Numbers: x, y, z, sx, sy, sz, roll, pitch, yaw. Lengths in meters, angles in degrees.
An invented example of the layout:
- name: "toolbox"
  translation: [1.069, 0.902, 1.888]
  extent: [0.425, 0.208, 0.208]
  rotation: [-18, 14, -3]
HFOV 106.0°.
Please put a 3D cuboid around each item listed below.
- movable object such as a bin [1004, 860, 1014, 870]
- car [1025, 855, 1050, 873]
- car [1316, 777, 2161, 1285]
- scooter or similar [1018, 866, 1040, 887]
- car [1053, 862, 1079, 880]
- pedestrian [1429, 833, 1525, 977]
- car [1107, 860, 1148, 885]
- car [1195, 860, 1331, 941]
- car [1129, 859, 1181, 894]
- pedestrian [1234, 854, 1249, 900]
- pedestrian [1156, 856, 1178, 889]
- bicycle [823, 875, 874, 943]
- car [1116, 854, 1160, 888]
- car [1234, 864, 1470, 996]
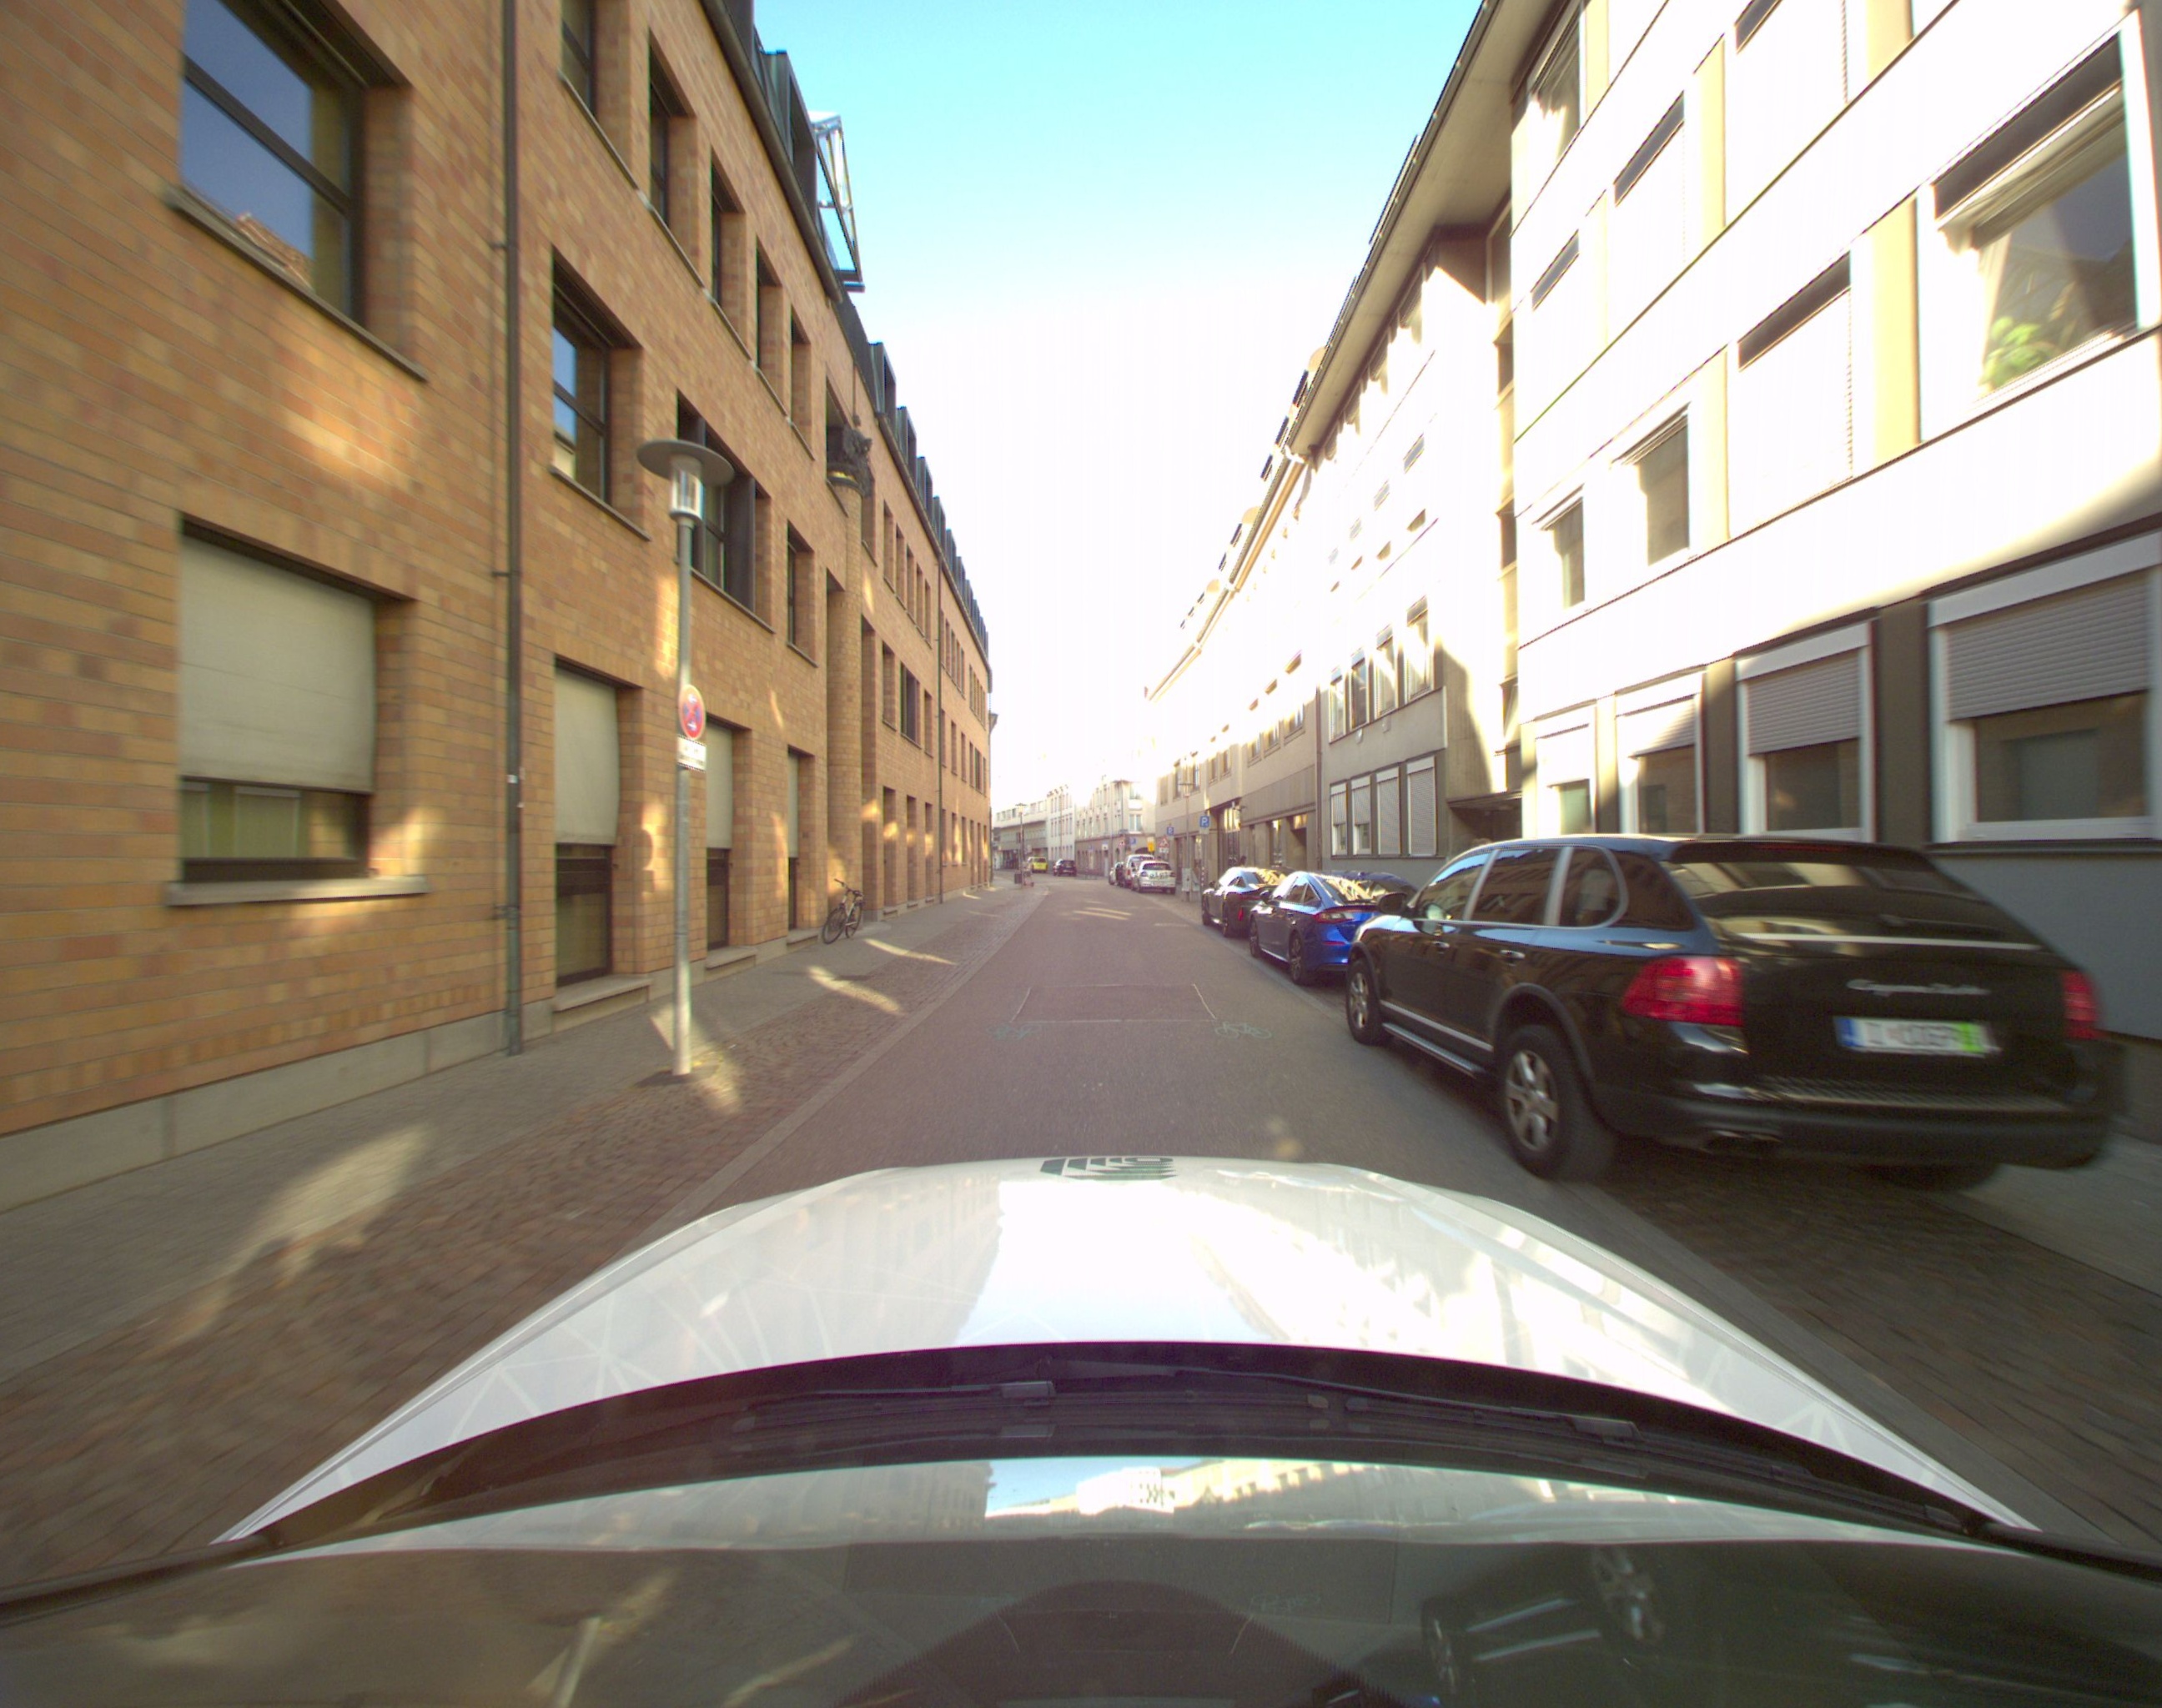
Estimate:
- name: "movable object such as a bin"
  translation: [-10.871, 1.632, 122.480]
  extent: [1.135, 1.480, 1.728]
  rotation: [0, -1, -19]
- name: "car"
  translation: [-5.200, 1.190, 96.904]
  extent: [2.056, 2.014, 4.153]
  rotation: [0, 0, -15]
- name: "car"
  translation: [3.246, 0.635, 5.439]
  extent: [2.095, 1.786, 5.055]
  rotation: [1, 0, 2]
- name: "scooter or similar"
  translation: [-3.115, 1.352, 48.912]
  extent: [0.691, 1.217, 1.365]
  rotation: [-2, 0, 24]
- name: "car"
  translation: [-1.544, 1.645, 80.733]
  extent: [1.968, 1.692, 4.086]
  rotation: [1, 0, -11]
- name: "pedestrian"
  translation: [5.013, 0.625, 10.357]
  extent: [0.786, 1.721, 0.747]
  rotation: [-3, 0, 1]
- name: "car"
  translation: [2.863, 1.129, 50.982]
  extent: [1.887, 1.518, 4.052]
  rotation: [0, -1, -8]
- name: "car"
  translation: [3.730, 0.884, 17.651]
  extent: [1.887, 1.453, 5.226]
  rotation: [1, 0, 1]
- name: "car"
  translation: [3.441, 1.028, 38.755]
  extent: [1.836, 1.478, 4.162]
  rotation: [2, 0, -3]
- name: "pedestrian"
  translation: [5.915, 0.850, 29.968]
  extent: [0.477, 1.654, 0.540]
  rotation: [-1, -1, 13]
- name: "pedestrian"
  translation: [4.759, 1.010, 44.988]
  extent: [1.040, 1.801, 1.197]
  rotation: [0, -1, -3]
- name: "bicycle"
  translation: [-4.473, 1.028, 15.763]
  extent: [0.630, 1.162, 1.799]
  rotation: [2, 0, -7]
- name: "car"
  translation: [3.090, 0.903, 45.046]
  extent: [1.826, 1.791, 5.207]
  rotation: [0, -1, -3]
- name: "car"
  translation: [3.522, 0.884, 11.617]
  extent: [1.801, 1.412, 4.790]
  rotation: [1, 0, 1]
